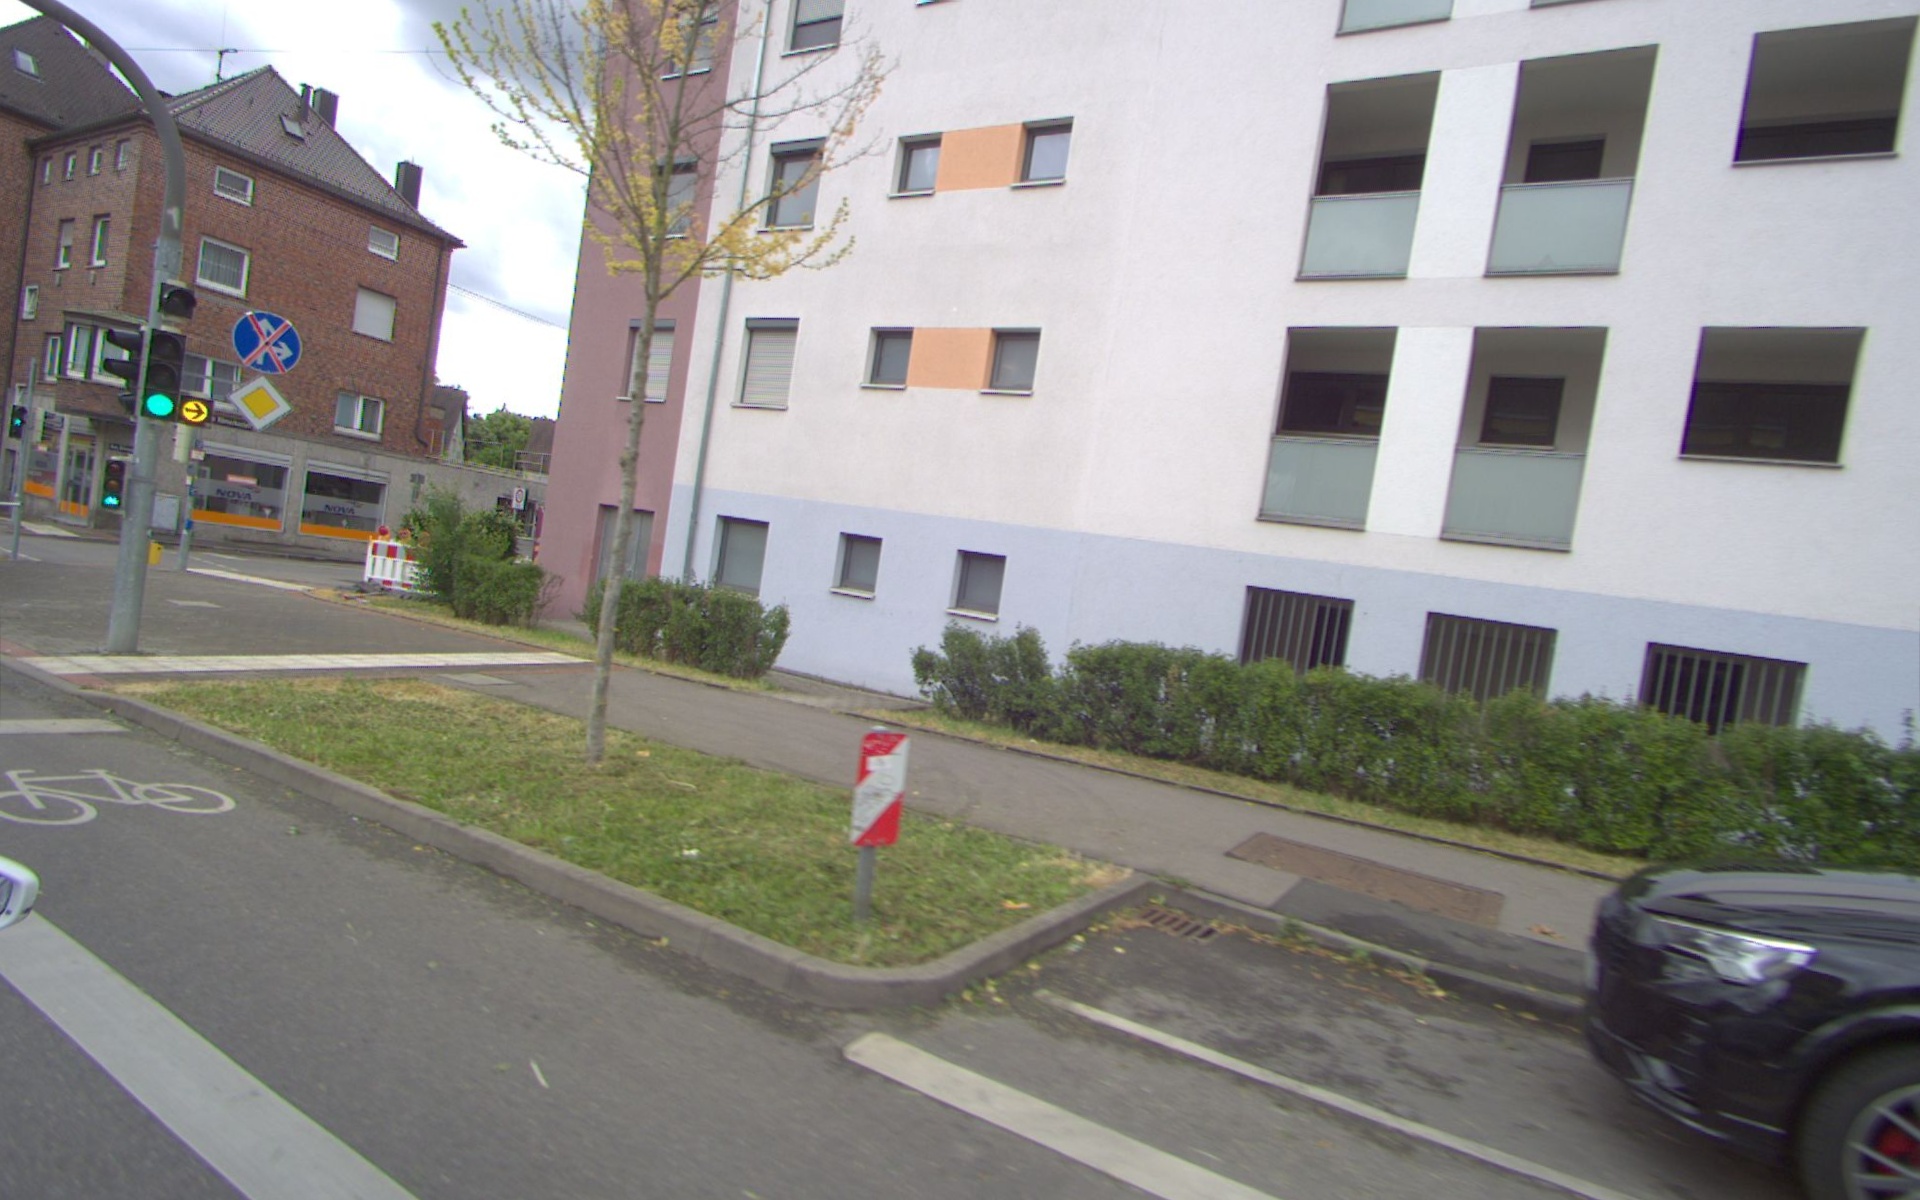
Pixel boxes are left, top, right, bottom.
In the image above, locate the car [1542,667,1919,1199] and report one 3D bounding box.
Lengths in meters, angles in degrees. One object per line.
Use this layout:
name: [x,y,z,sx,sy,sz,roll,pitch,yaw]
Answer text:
car: [4.327,1.325,2.812,4.495,1.606,1.738,7,-2,30]
